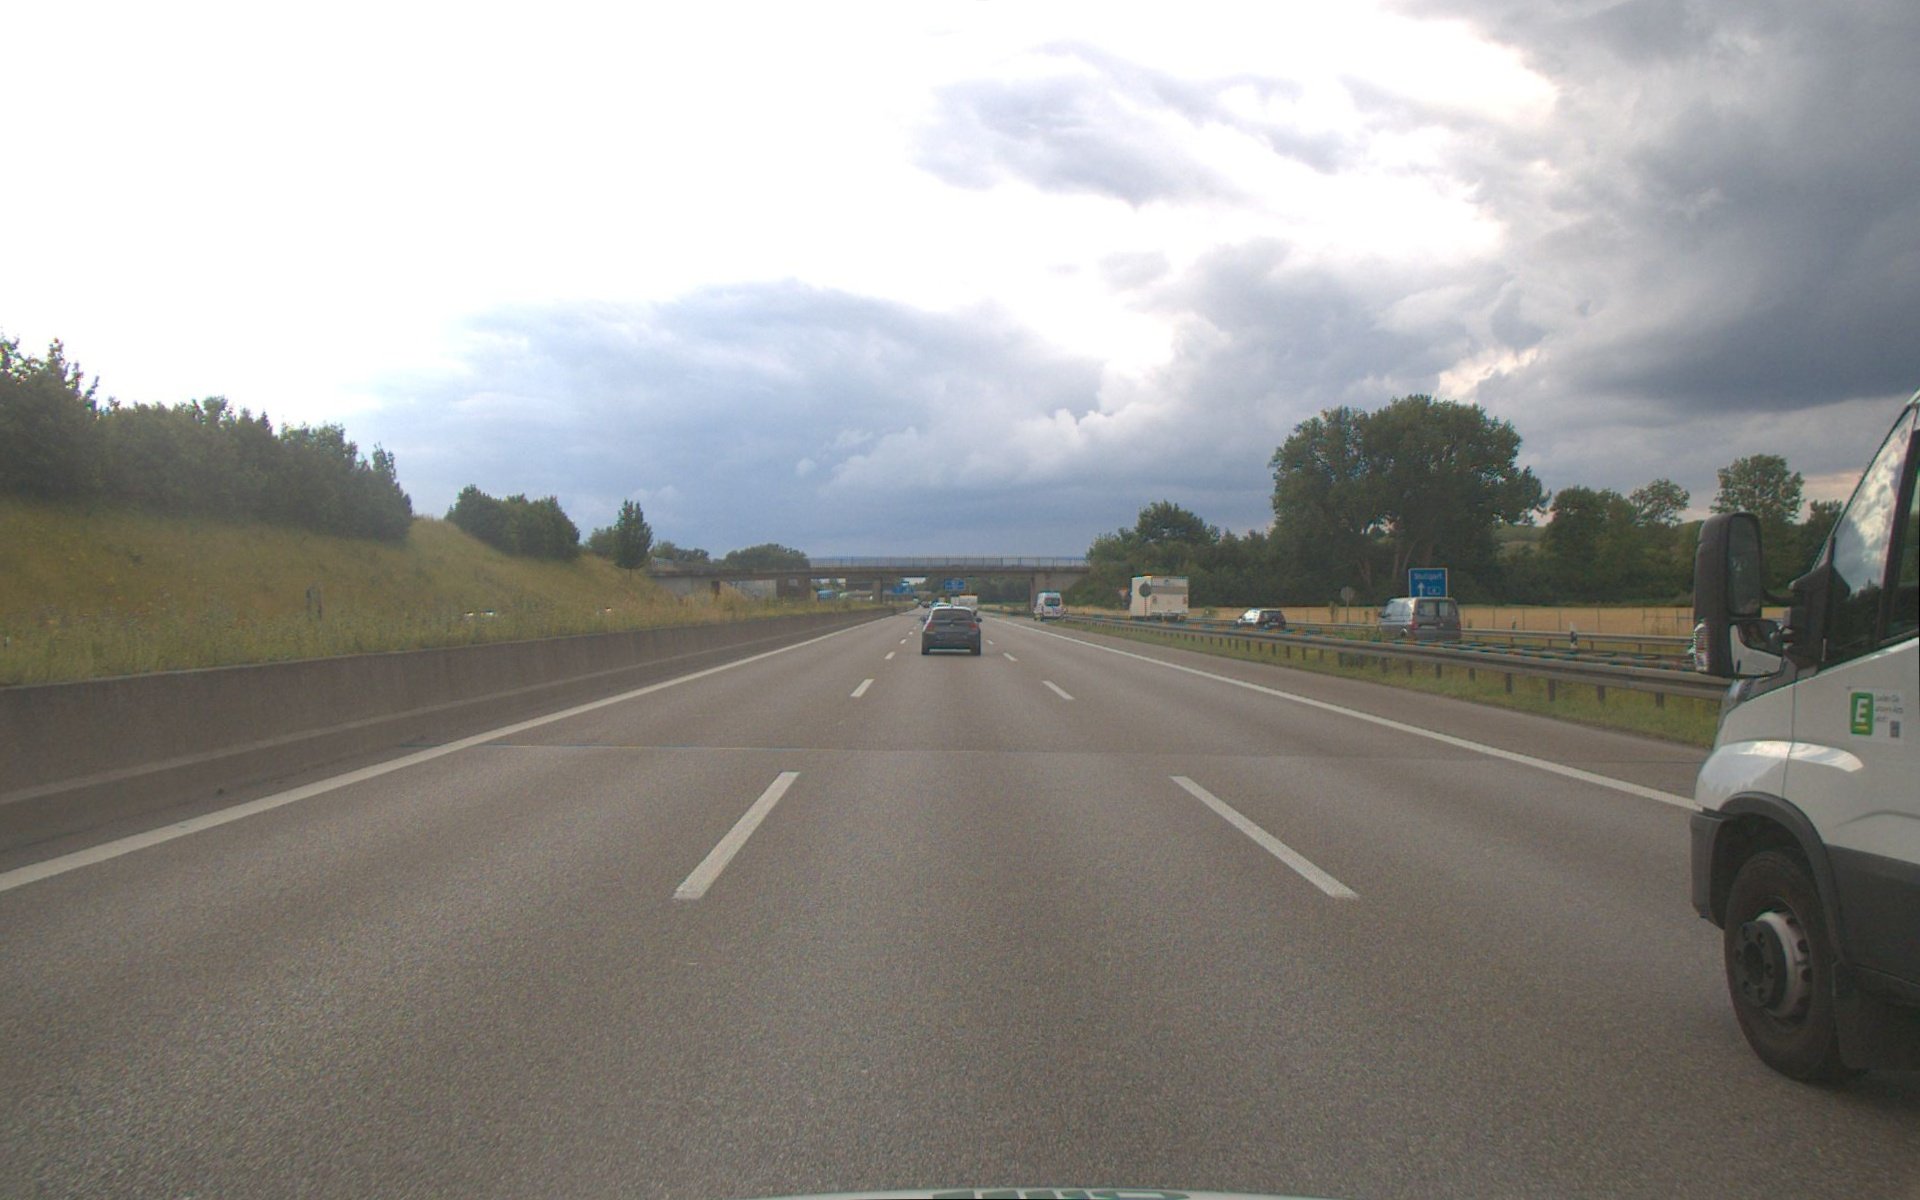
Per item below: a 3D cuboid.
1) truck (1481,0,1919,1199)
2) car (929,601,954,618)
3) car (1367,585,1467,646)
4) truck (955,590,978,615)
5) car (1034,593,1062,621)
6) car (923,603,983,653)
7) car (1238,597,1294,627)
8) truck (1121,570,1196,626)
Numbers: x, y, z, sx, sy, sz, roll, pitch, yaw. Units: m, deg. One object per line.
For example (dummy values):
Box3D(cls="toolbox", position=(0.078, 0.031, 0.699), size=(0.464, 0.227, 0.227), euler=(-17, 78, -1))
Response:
Box3D(cls="truck", position=(3.640, -0.253, 2.466), size=(2.714, 3.566, 9.060), euler=(1, 0, -1))
Box3D(cls="car", position=(-1.494, 0.749, 132.642), size=(1.953, 1.321, 3.999), euler=(-1, 0, -2))
Box3D(cls="car", position=(16.434, 0.543, 59.699), size=(2.100, 2.099, 4.956), euler=(1, 0, -2))
Box3D(cls="truck", position=(0.792, 0.402, 211.476), size=(2.655, 3.016, 12.443), euler=(2, 0, -1))
Box3D(cls="car", position=(8.363, 0.681, 157.491), size=(2.176, 2.613, 6.255), euler=(0, 0, -1))
Box3D(cls="car", position=(-0.230, 0.806, 49.492), size=(1.708, 1.413, 3.999), euler=(1, 0, -1))
Box3D(cls="car", position=(16.759, 0.664, 90.888), size=(1.879, 1.577, 4.920), euler=(-1, 0, -4))
Box3D(cls="truck", position=(13.370, -0.095, 112.046), size=(3.045, 3.531, 8.879), euler=(2, 0, -6))
